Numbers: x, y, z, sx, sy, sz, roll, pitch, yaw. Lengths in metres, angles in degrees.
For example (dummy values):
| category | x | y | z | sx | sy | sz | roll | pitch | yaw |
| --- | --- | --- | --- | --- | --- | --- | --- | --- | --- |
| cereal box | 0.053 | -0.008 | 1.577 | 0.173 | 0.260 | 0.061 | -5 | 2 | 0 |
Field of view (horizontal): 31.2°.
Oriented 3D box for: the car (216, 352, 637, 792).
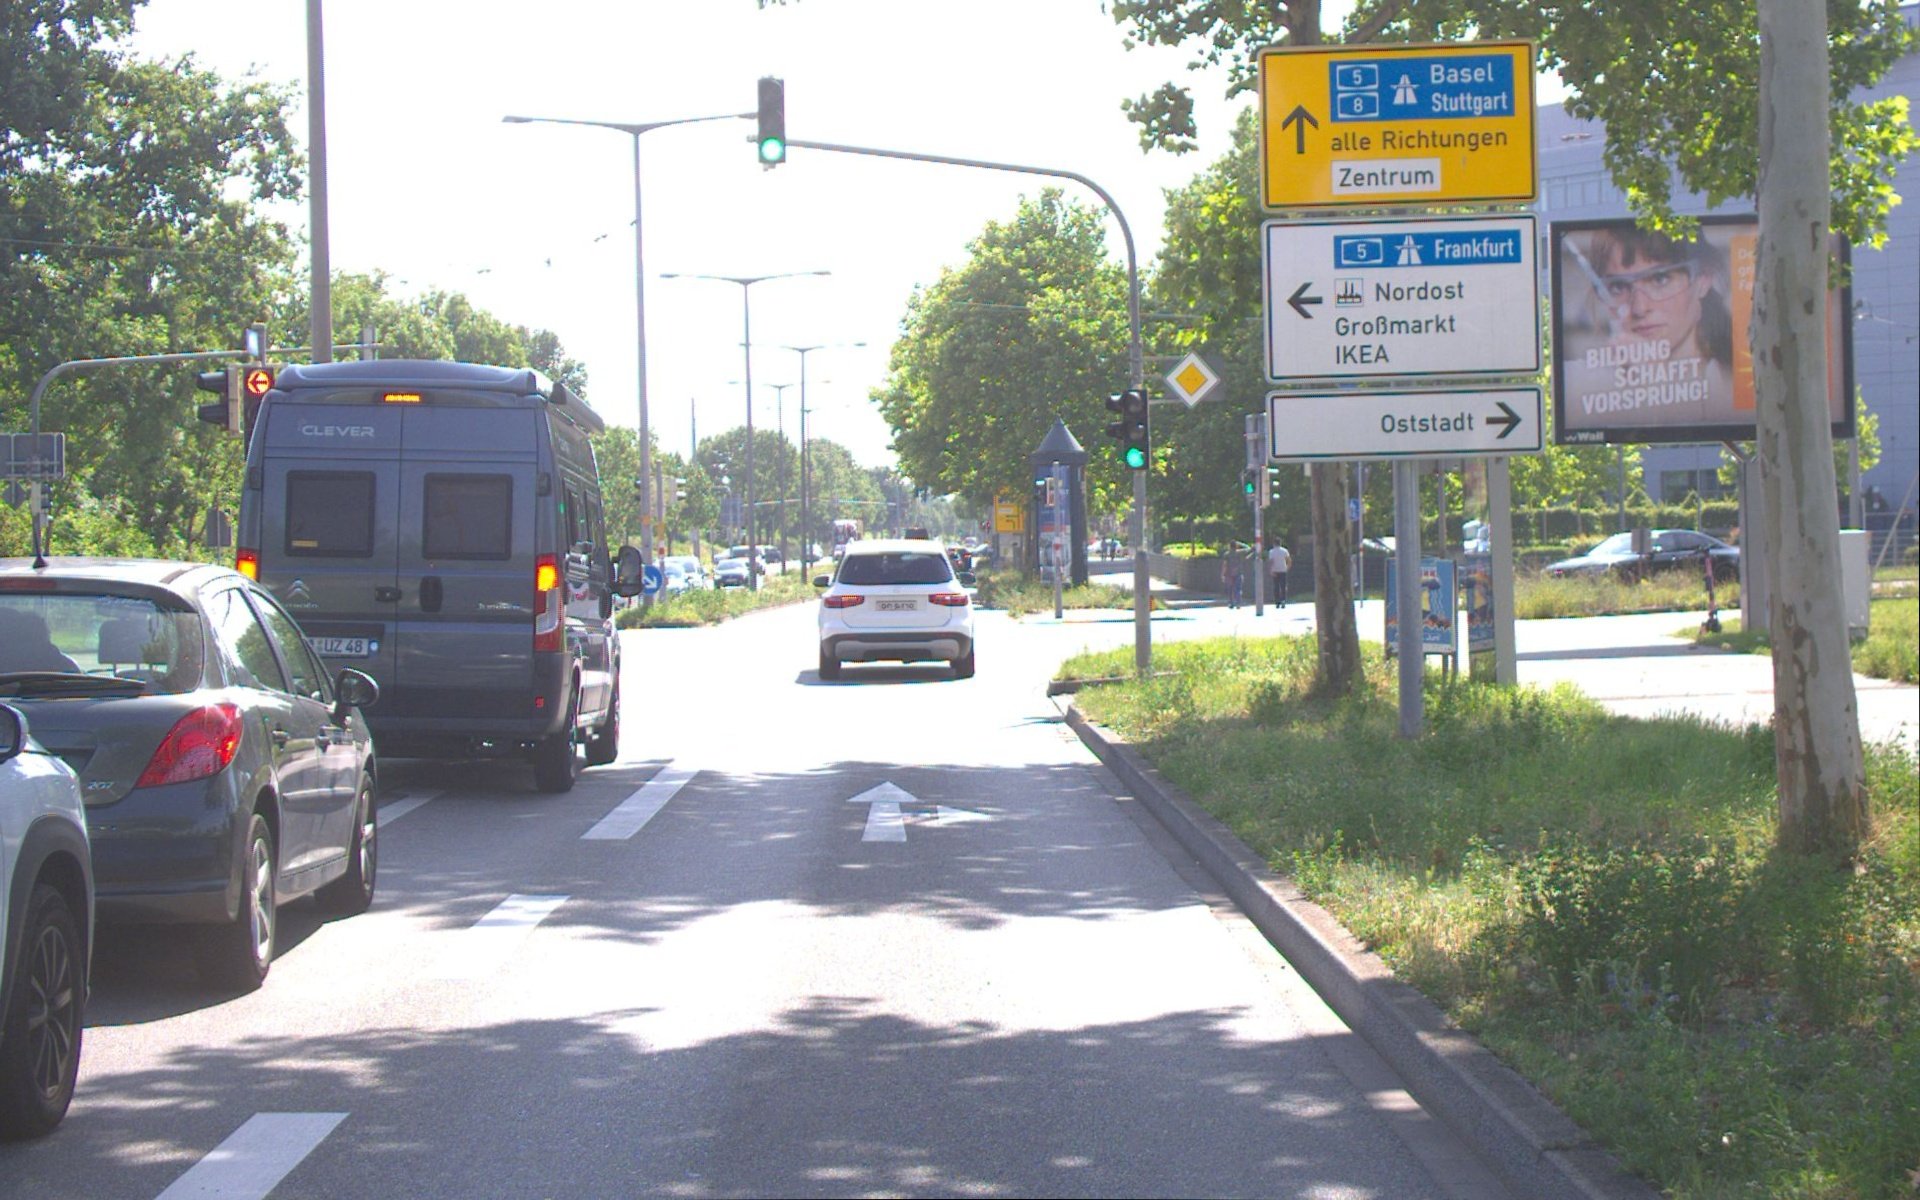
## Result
| category | x | y | z | sx | sy | sz | roll | pitch | yaw |
| --- | --- | --- | --- | --- | --- | --- | --- | --- | --- |
| car | -3.467 | -0.193 | 23.294 | 2.081 | 2.647 | 4.874 | 0 | 1 | 0 |

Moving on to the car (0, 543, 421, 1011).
| category | x | y | z | sx | sy | sz | roll | pitch | yaw |
| --- | --- | --- | --- | --- | --- | --- | --- | --- | --- |
| car | -3.193 | 0.544 | 13.101 | 1.691 | 1.499 | 3.886 | 1 | 1 | -1 |

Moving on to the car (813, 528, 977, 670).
| category | x | y | z | sx | sy | sz | roll | pitch | yaw |
| --- | --- | --- | --- | --- | --- | --- | --- | --- | --- |
| car | -0.737 | -0.052 | 41.608 | 1.853 | 1.601 | 4.000 | 0 | 2 | 1 |

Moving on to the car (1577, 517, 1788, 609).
| category | x | y | z | sx | sy | sz | roll | pitch | yaw |
| --- | --- | --- | --- | --- | --- | --- | --- | --- | --- |
| car | 14.454 | -0.739 | 68.853 | 3.788 | 1.751 | 1.604 | 1 | 0 | -10 |

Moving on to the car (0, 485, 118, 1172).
| category | x | y | z | sx | sy | sz | roll | pitch | yaw |
| --- | --- | --- | --- | --- | --- | --- | --- | --- | --- |
| car | -3.179 | 0.553 | 7.333 | 1.771 | 1.641 | 4.084 | 0 | 1 | 0 |
